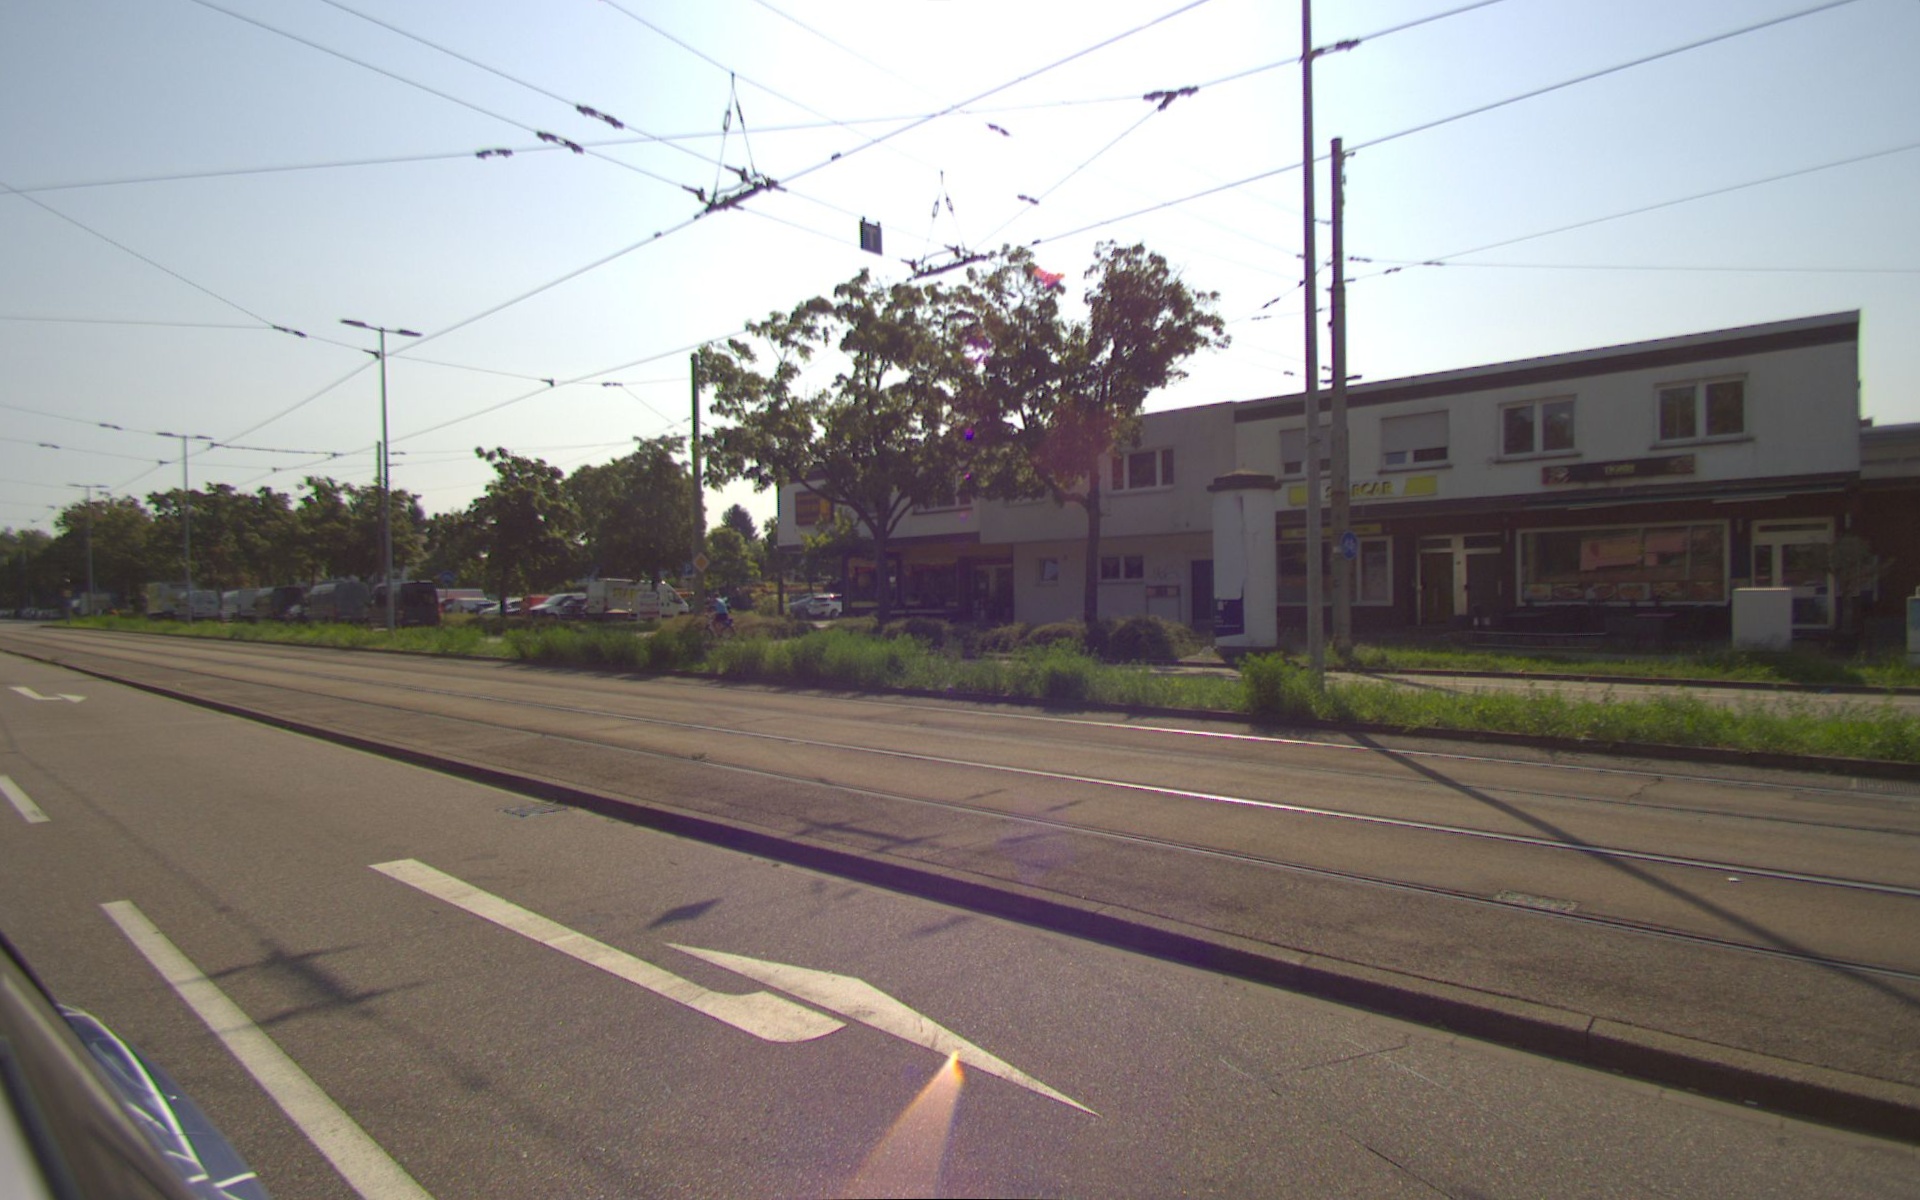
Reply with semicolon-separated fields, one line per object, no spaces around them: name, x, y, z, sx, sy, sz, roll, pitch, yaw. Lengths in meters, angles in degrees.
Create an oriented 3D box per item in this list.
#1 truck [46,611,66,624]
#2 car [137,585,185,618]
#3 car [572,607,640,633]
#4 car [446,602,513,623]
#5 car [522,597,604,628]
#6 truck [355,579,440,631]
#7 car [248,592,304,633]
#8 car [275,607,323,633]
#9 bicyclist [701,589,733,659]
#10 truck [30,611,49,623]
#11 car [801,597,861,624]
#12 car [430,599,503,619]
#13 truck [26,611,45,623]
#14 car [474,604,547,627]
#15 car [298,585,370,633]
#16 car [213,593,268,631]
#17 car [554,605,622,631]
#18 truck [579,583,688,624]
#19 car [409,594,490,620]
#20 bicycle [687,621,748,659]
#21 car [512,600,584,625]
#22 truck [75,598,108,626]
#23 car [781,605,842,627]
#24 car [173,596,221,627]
truck;-123.712;2.403;138.524;3.655;1.687;1.669;0;-1;43
car;-69.939;0.168;88.541;7.231;2.826;2.101;0;-1;43
car;-20.320;1.154;58.172;1.632;1.437;3.369;0;-1;41
car;-33.541;0.890;70.673;1.632;1.461;3.882;0;-1;41
car;-24.119;0.764;61.595;1.632;1.798;4.353;0;-1;40
truck;-29.141;0.272;52.322;5.737;2.567;2.059;0;-1;42
car;-45.569;0.851;67.332;5.910;2.605;1.802;-1;1;43
car;-41.313;1.224;63.195;3.835;1.563;1.725;-1;1;45
bicyclist;-7.334;0.710;30.522;0.630;2.080;0.775;2;-2;-44
truck;-131.693;2.480;144.788;3.655;1.687;1.669;0;-1;43
car;-8.141;0.635;63.986;1.875;1.513;3.413;2;4;39
car;-36.587;0.691;75.147;1.632;1.461;4.605;0;-1;40
truck;-134.736;2.455;147.466;3.655;1.687;1.669;0;-1;43
car;-29.756;1.048;67.076;1.625;1.474;4.111;-1;-1;43
car;-36.532;0.511;58.969;6.469;2.605;1.966;0;1;44
car;-51.647;0.857;72.608;5.630;2.606;2.109;0;-1;43
car;-21.854;1.065;59.550;1.632;1.437;3.369;0;-1;41
truck;-18.223;0.235;56.670;2.258;2.189;5.433;0;-1;40
car;-38.899;0.564;77.246;2.052;1.940;5.131;0;-1;41
bicycle;-7.327;1.188;30.515;0.707;1.099;2.266;2;-1;-45
car;-25.915;0.784;63.764;1.632;1.530;3.882;0;-1;41
truck;-101.395;1.366;118.083;8.791;3.145;2.247;-1;-1;45
car;-9.557;1.028;65.330;3.660;1.353;1.493;-1;0;-41
car;-62.226;0.958;82.514;4.829;2.477;2.120;0;-1;41
